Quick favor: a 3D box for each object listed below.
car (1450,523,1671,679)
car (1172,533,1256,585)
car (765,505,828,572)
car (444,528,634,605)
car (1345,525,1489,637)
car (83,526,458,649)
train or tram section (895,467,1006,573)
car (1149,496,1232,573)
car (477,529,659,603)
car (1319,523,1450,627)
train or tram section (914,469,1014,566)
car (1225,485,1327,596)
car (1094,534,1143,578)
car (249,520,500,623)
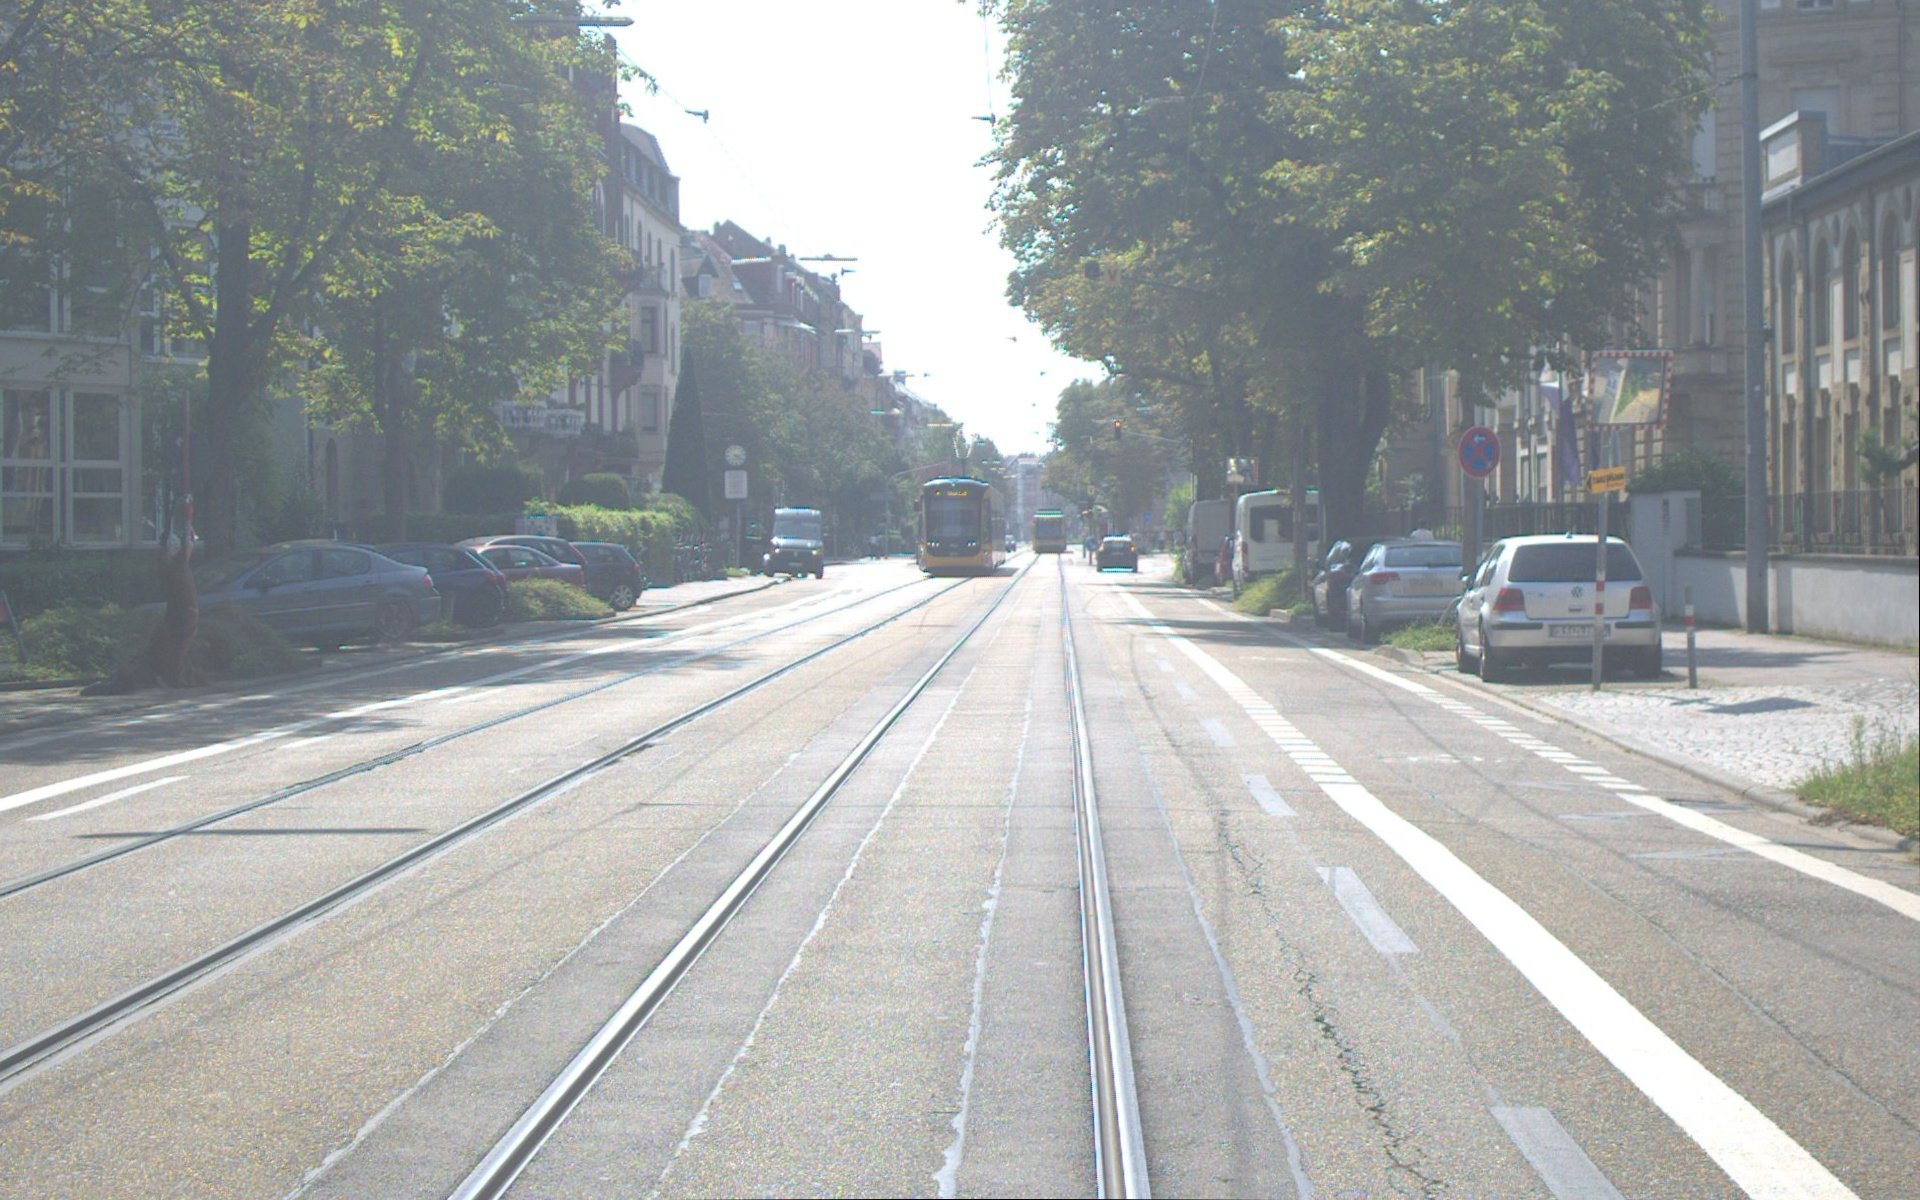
[{"bbox_3d":[5.971,-0.025,34.534,1.791,1.441,3.732,-1,1,4],"label":"car"},{"bbox_3d":[7.057,-1.164,95.822,1.993,1.393,4.000,0,1,-1],"label":"car"},{"bbox_3d":[-5.979,-2.259,126.191,2.242,2.433,4.000,0,1,-2],"label":"car"},{"bbox_3d":[-8.723,-0.696,71.408,3.576,1.569,1.676,0,1,-40],"label":"car"},{"bbox_3d":[6.370,-0.283,48.191,1.641,1.506,3.641,0,1,2],"label":"car"},{"bbox_3d":[-9.044,-0.202,45.364,4.676,1.447,1.675,-3,3,-45],"label":"car"},{"bbox_3d":[-0.257,-2.951,126.039,3.497,3.691,12.412,0,2,3],"label":"train or tram section"},{"bbox_3d":[6.901,-1.972,103.217,1.993,2.226,4.001,-1,1,-3],"label":"car"},{"bbox_3d":[-8.474,-0.737,74.476,3.576,1.569,1.676,0,1,-40],"label":"car"},{"bbox_3d":[6.651,-0.424,54.178,1.794,1.571,4.000,0,1,4],"label":"car"},{"bbox_3d":[0.257,-3.339,138.431,3.497,3.691,12.412,0,2,3],"label":"train or tram section"},{"bbox_3d":[6.946,-1.314,75.897,1.993,2.357,4.000,0,1,2],"label":"car"},{"bbox_3d":[6.567,-1.829,142.808,1.993,1.795,4.000,0,1,2],"label":"car"},{"bbox_3d":[-9.286,-0.460,54.592,3.576,1.569,1.676,0,1,-40],"label":"car"}]
